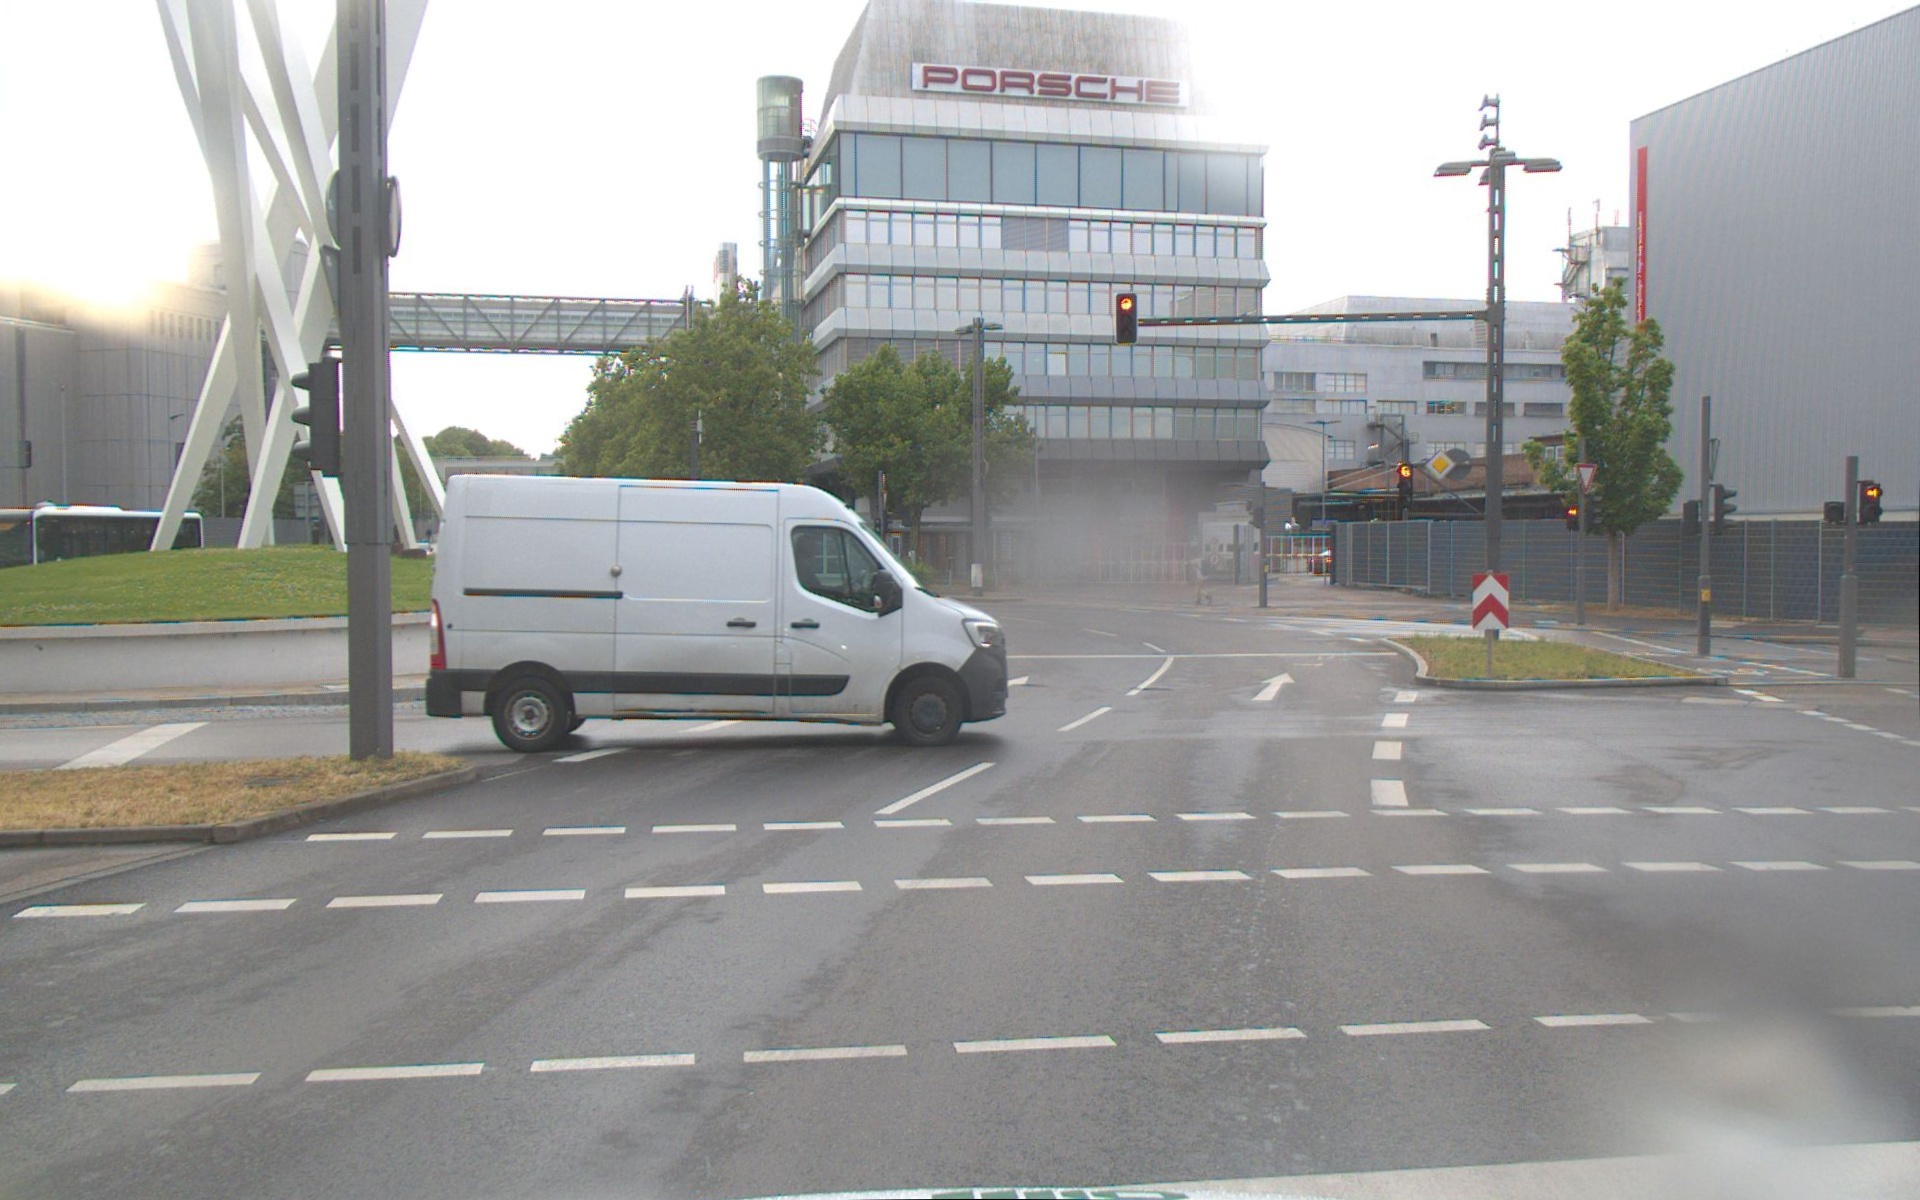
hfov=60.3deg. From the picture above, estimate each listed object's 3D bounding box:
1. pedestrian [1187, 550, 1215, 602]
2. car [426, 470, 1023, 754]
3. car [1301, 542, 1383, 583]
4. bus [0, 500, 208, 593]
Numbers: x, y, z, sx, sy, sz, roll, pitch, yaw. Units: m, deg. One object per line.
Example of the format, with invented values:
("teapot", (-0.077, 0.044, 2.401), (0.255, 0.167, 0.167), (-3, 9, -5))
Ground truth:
("pedestrian", (7.800, -0.763, 53.533), (0.791, 1.639, 0.770), (-1, -1, 16))
("car", (-2.168, 0.069, 15.913), (5.305, 2.490, 1.997), (-1, 1, -7))
("car", (19.591, -1.907, 84.663), (1.965, 2.004, 4.864), (0, 1, 43))
("bus", (-33.463, -1.944, 63.905), (2.613, 3.257, 12.673), (0, 1, 2))
